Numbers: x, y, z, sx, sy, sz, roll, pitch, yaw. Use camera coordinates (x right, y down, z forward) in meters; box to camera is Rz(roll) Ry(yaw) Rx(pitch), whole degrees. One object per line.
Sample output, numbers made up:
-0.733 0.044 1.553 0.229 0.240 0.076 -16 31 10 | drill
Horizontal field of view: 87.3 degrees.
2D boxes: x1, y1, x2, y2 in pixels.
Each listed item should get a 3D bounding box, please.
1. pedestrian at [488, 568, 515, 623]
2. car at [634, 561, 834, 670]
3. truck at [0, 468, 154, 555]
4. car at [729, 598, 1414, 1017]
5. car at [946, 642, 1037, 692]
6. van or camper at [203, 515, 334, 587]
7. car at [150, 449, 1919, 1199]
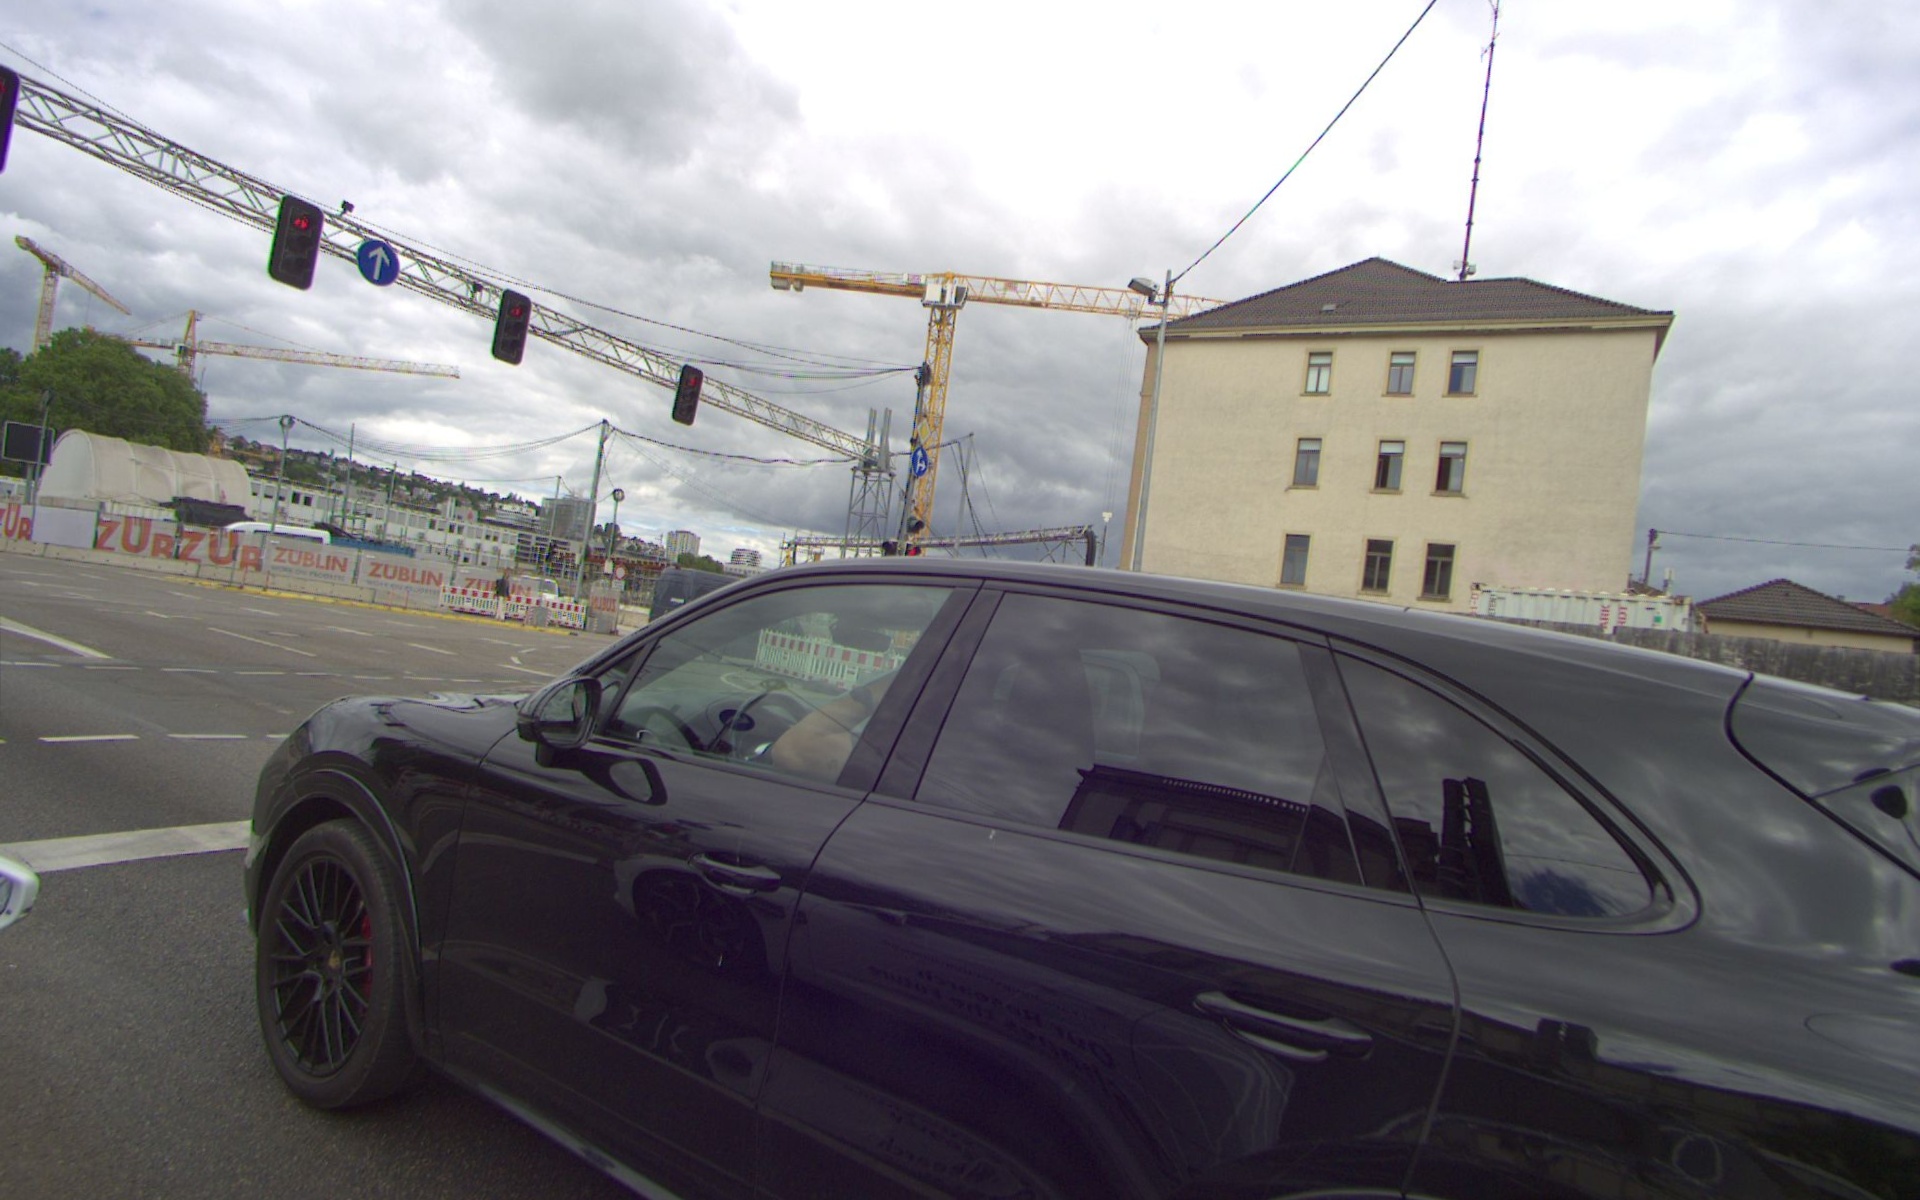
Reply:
-17.803 -0.182 39.040 0.647 2.037 0.513 8 -1 -33 | pedestrian
-6.974 0.581 31.849 2.033 2.623 5.997 7 -3 38 | car
-57.891 -5.799 61.930 3.875 4.086 13.089 8 -2 12 | truck
0.594 1.043 6.366 3.818 1.561 1.667 7 -2 33 | car
1.487 3.043 45.337 1.854 1.755 4.438 7 -3 34 | car
-29.805 -2.075 43.409 4.204 2.384 1.976 10 -3 -44 | van or camper
0.038 0.714 2.691 4.559 1.705 1.959 7 -2 33 | car
